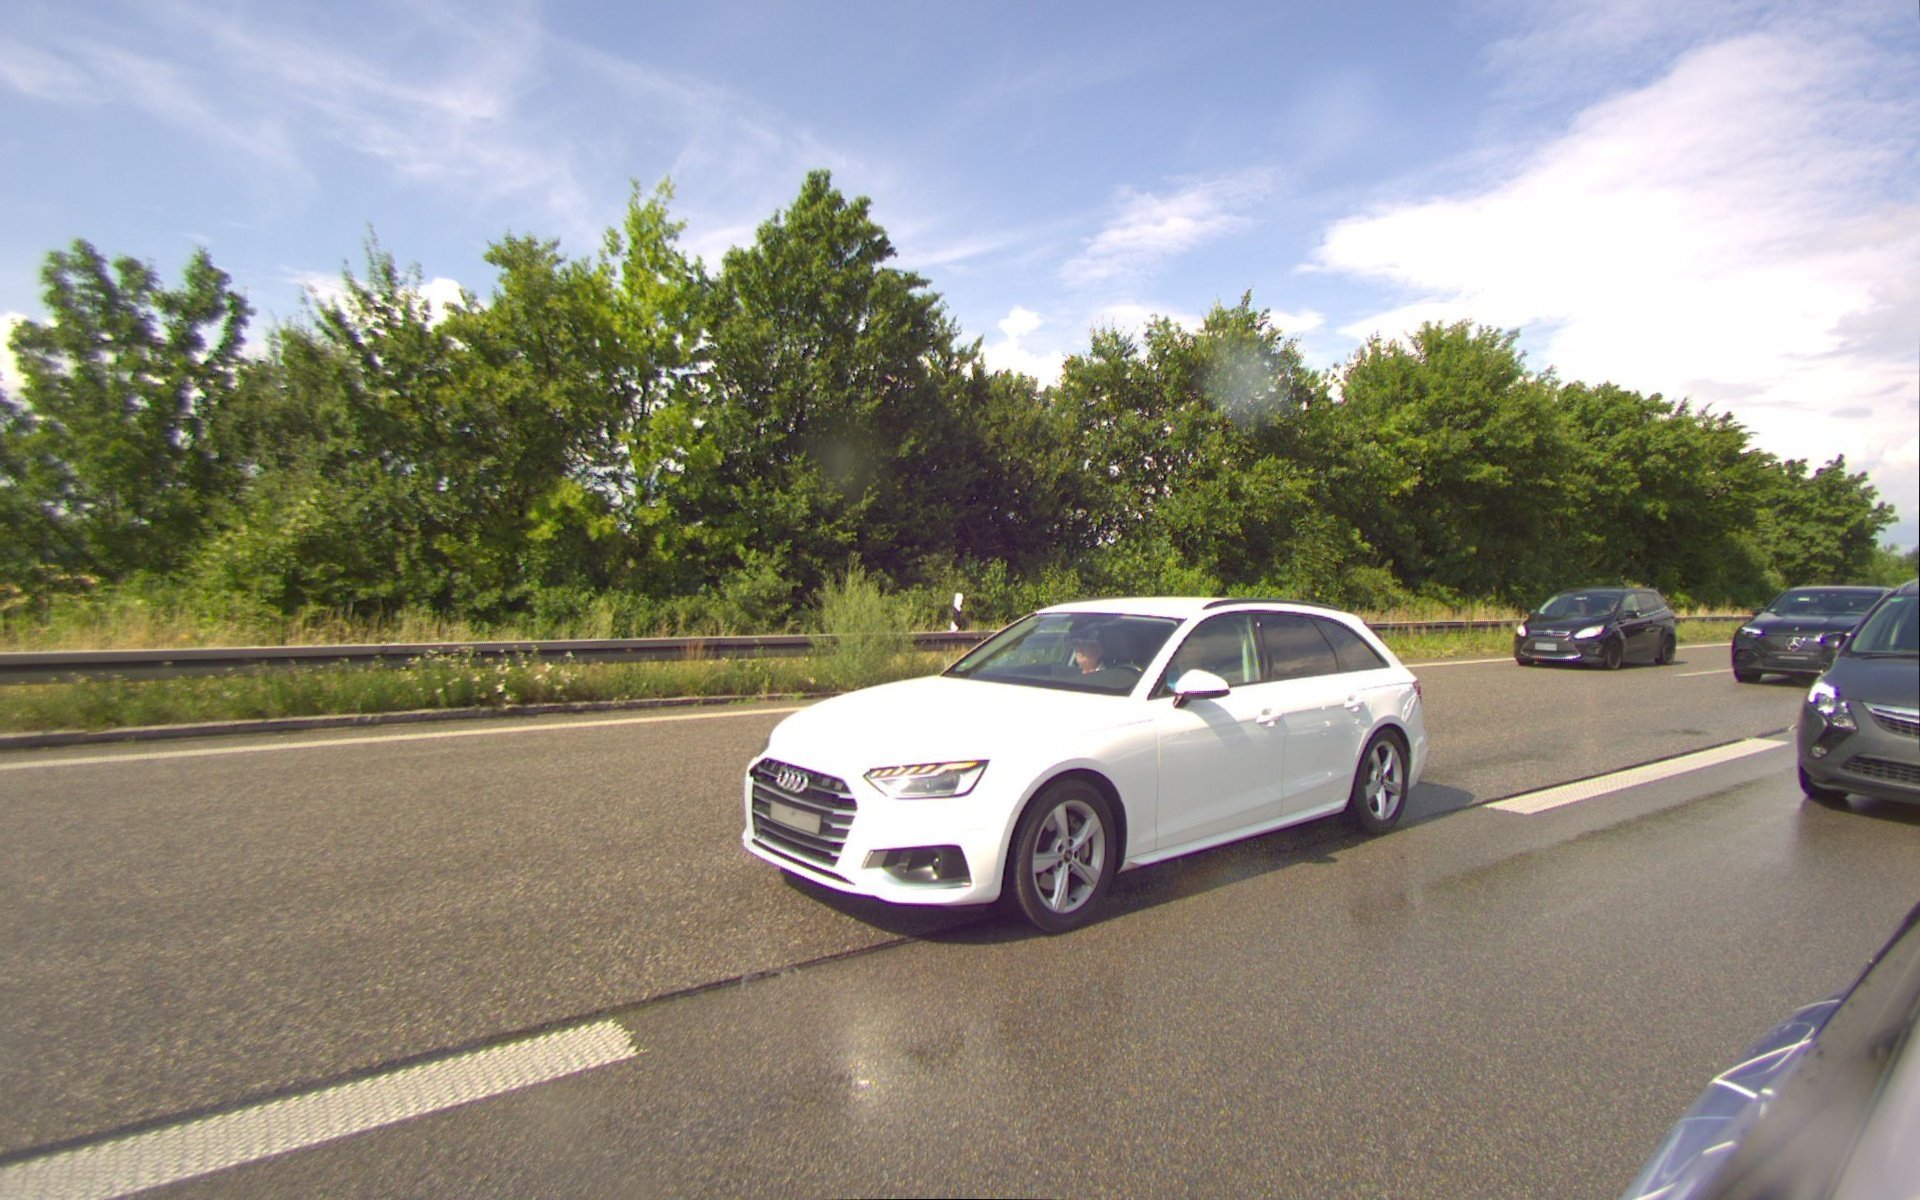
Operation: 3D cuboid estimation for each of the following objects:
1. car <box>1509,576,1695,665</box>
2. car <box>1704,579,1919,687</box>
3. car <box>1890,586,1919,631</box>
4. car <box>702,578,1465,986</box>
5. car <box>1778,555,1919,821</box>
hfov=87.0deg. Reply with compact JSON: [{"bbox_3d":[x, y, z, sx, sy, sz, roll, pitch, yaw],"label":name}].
[{"bbox_3d":[13.152,0.370,20.658,4.282,1.641,1.826,0,0,-37],"label":"car"},{"bbox_3d":[14.694,0.473,17.266,4.567,1.601,1.999,0,1,-37],"label":"car"},{"bbox_3d":[36.063,0.271,37.416,4.207,1.606,1.753,-1,1,-37],"label":"car"},{"bbox_3d":[0.979,0.622,5.814,4.432,1.443,1.831,-1,3,-40],"label":"car"},{"bbox_3d":[7.885,0.548,7.460,4.315,1.668,1.884,0,1,-37],"label":"car"}]
